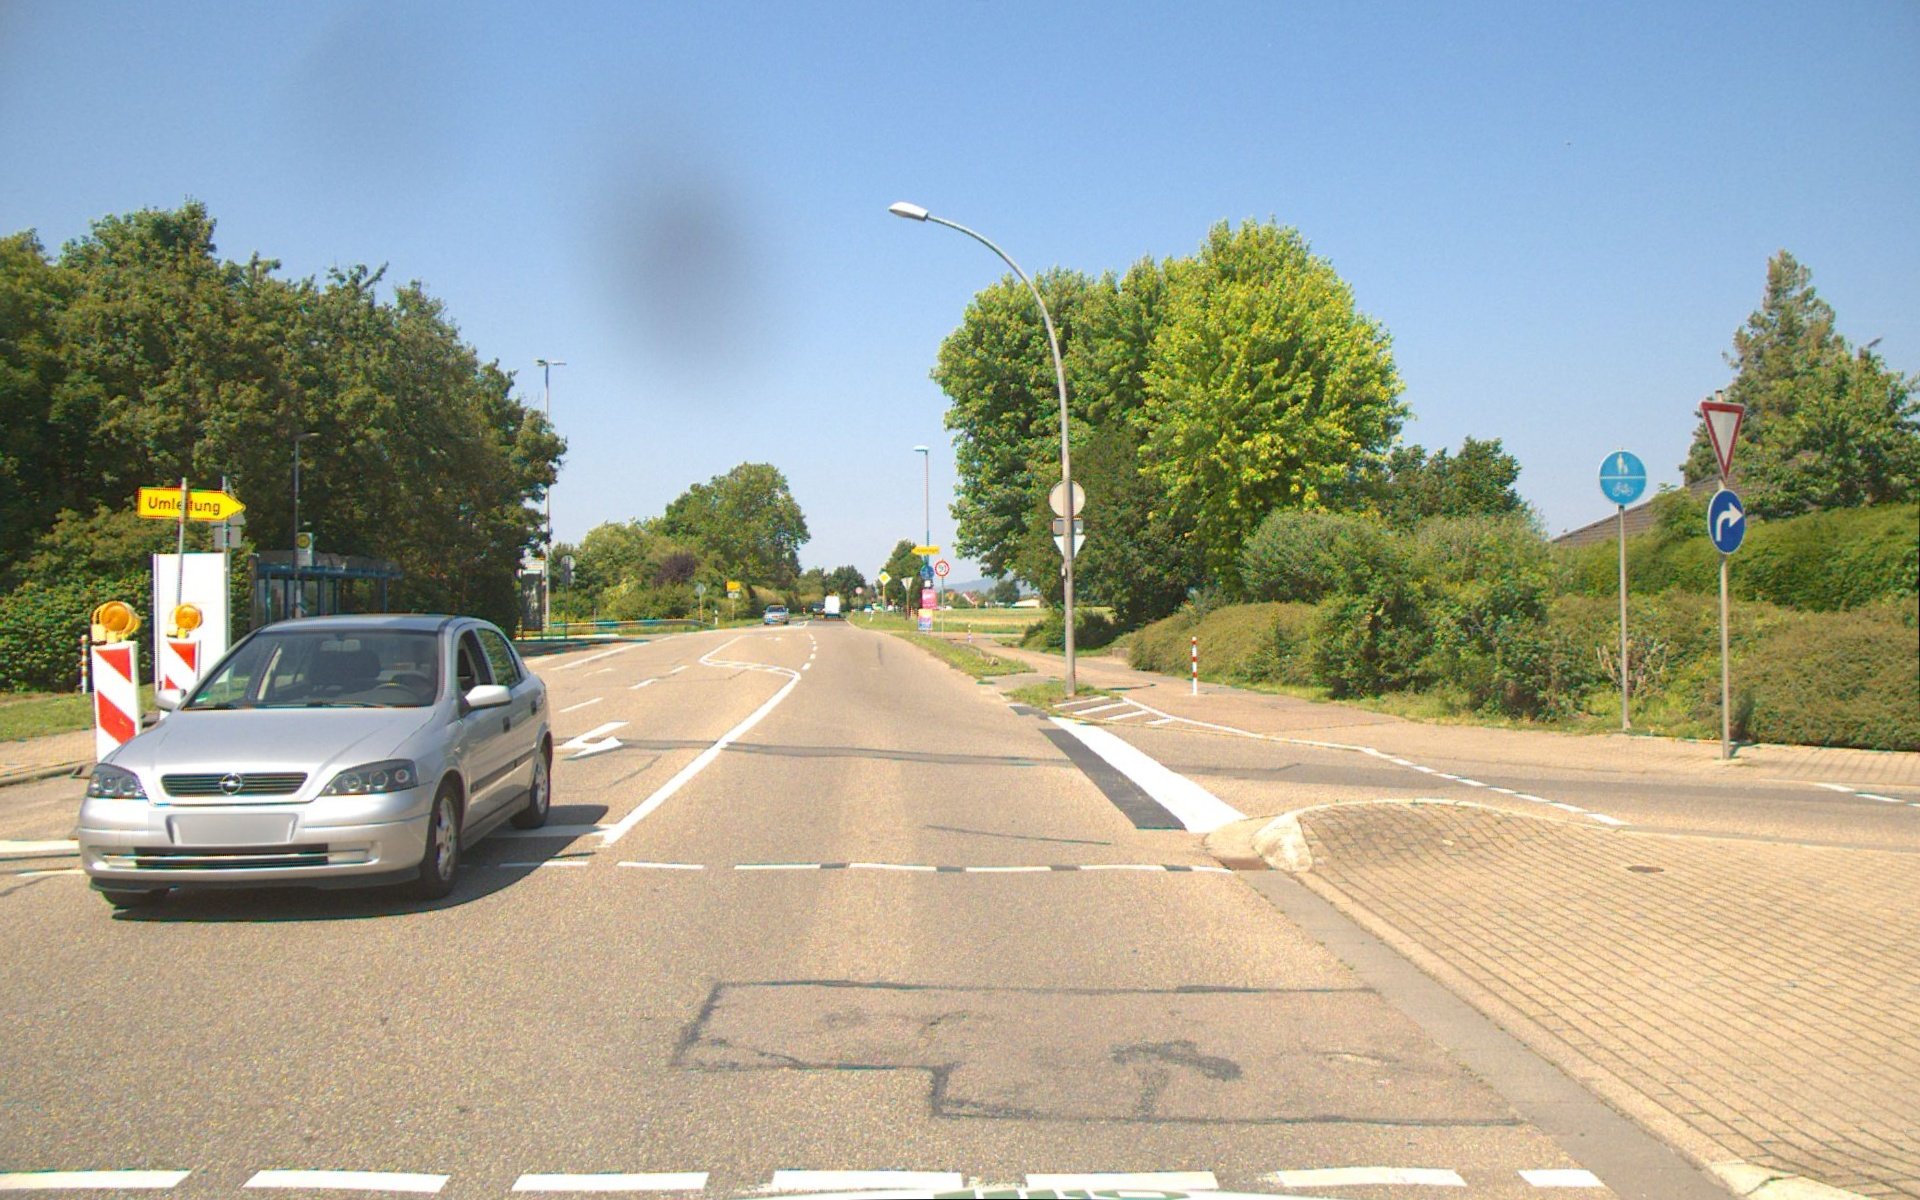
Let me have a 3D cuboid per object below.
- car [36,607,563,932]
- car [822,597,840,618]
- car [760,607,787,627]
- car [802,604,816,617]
[{"bbox_3d":[-3.438,0.767,9.428,1.666,1.428,3.976,-1,0,-4],"label":"car"},{"bbox_3d":[-16.355,0.950,210.224,1.956,2.698,3.992,-1,0,-9],"label":"car"},{"bbox_3d":[-14.137,1.259,125.621,1.603,1.496,4.414,-1,0,-2],"label":"car"},{"bbox_3d":[-23.350,1.570,255.199,2.103,1.985,5.240,-1,0,-6],"label":"car"}]
